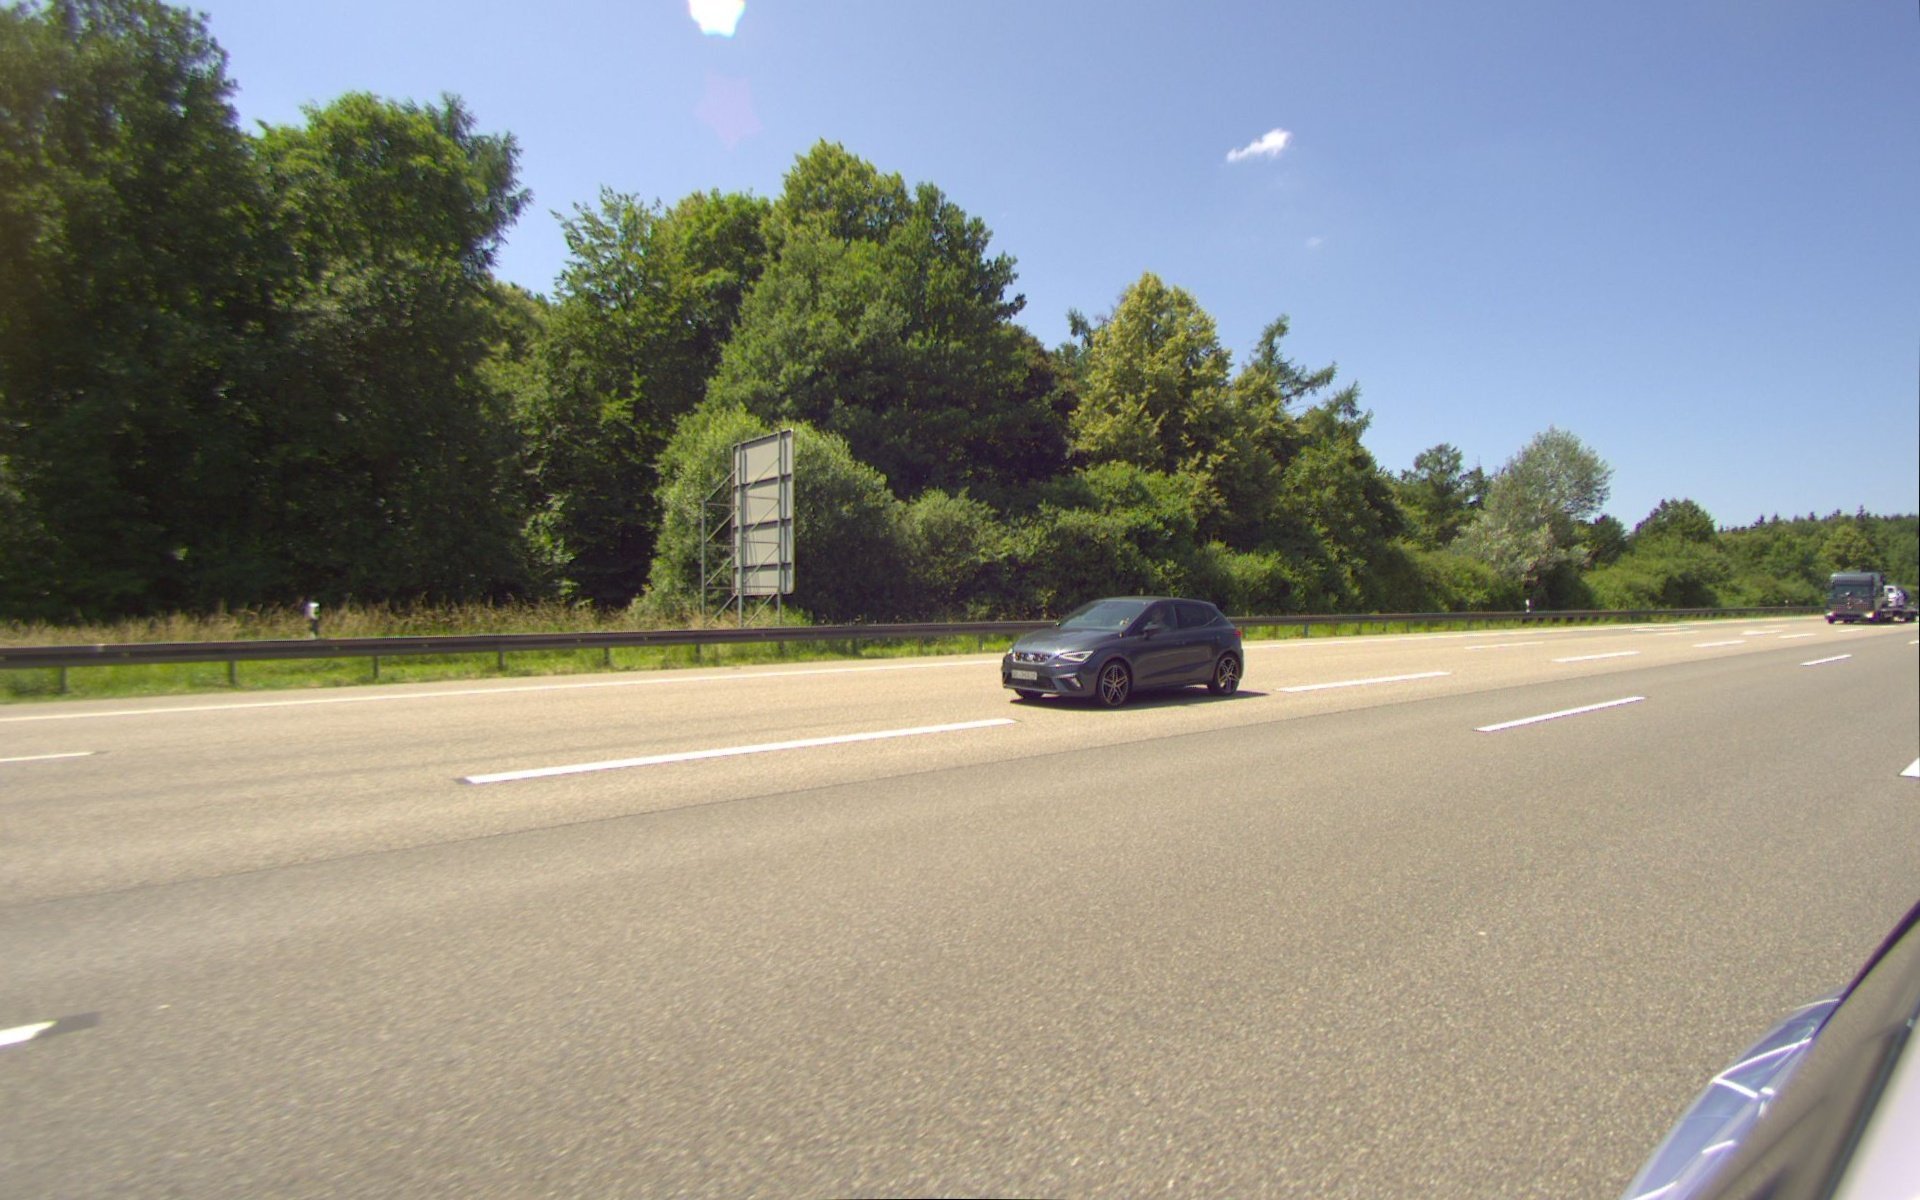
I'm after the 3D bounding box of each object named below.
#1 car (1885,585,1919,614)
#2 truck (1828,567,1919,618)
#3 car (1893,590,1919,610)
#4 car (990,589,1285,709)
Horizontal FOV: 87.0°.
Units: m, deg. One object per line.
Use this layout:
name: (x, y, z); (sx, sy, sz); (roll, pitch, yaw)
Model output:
car: (63.518, -0.062, 67.499); (4.782, 1.920, 1.998); (-1, 0, -39)
truck: (55.401, -0.474, 61.196); (10.692, 2.892, 2.659); (-1, 0, -40)
car: (82.032, 0.014, 87.091); (4.054, 1.702, 1.997); (-1, 0, -40)
car: (2.686, 0.595, 14.640); (4.553, 1.457, 1.646); (-1, 0, -40)
